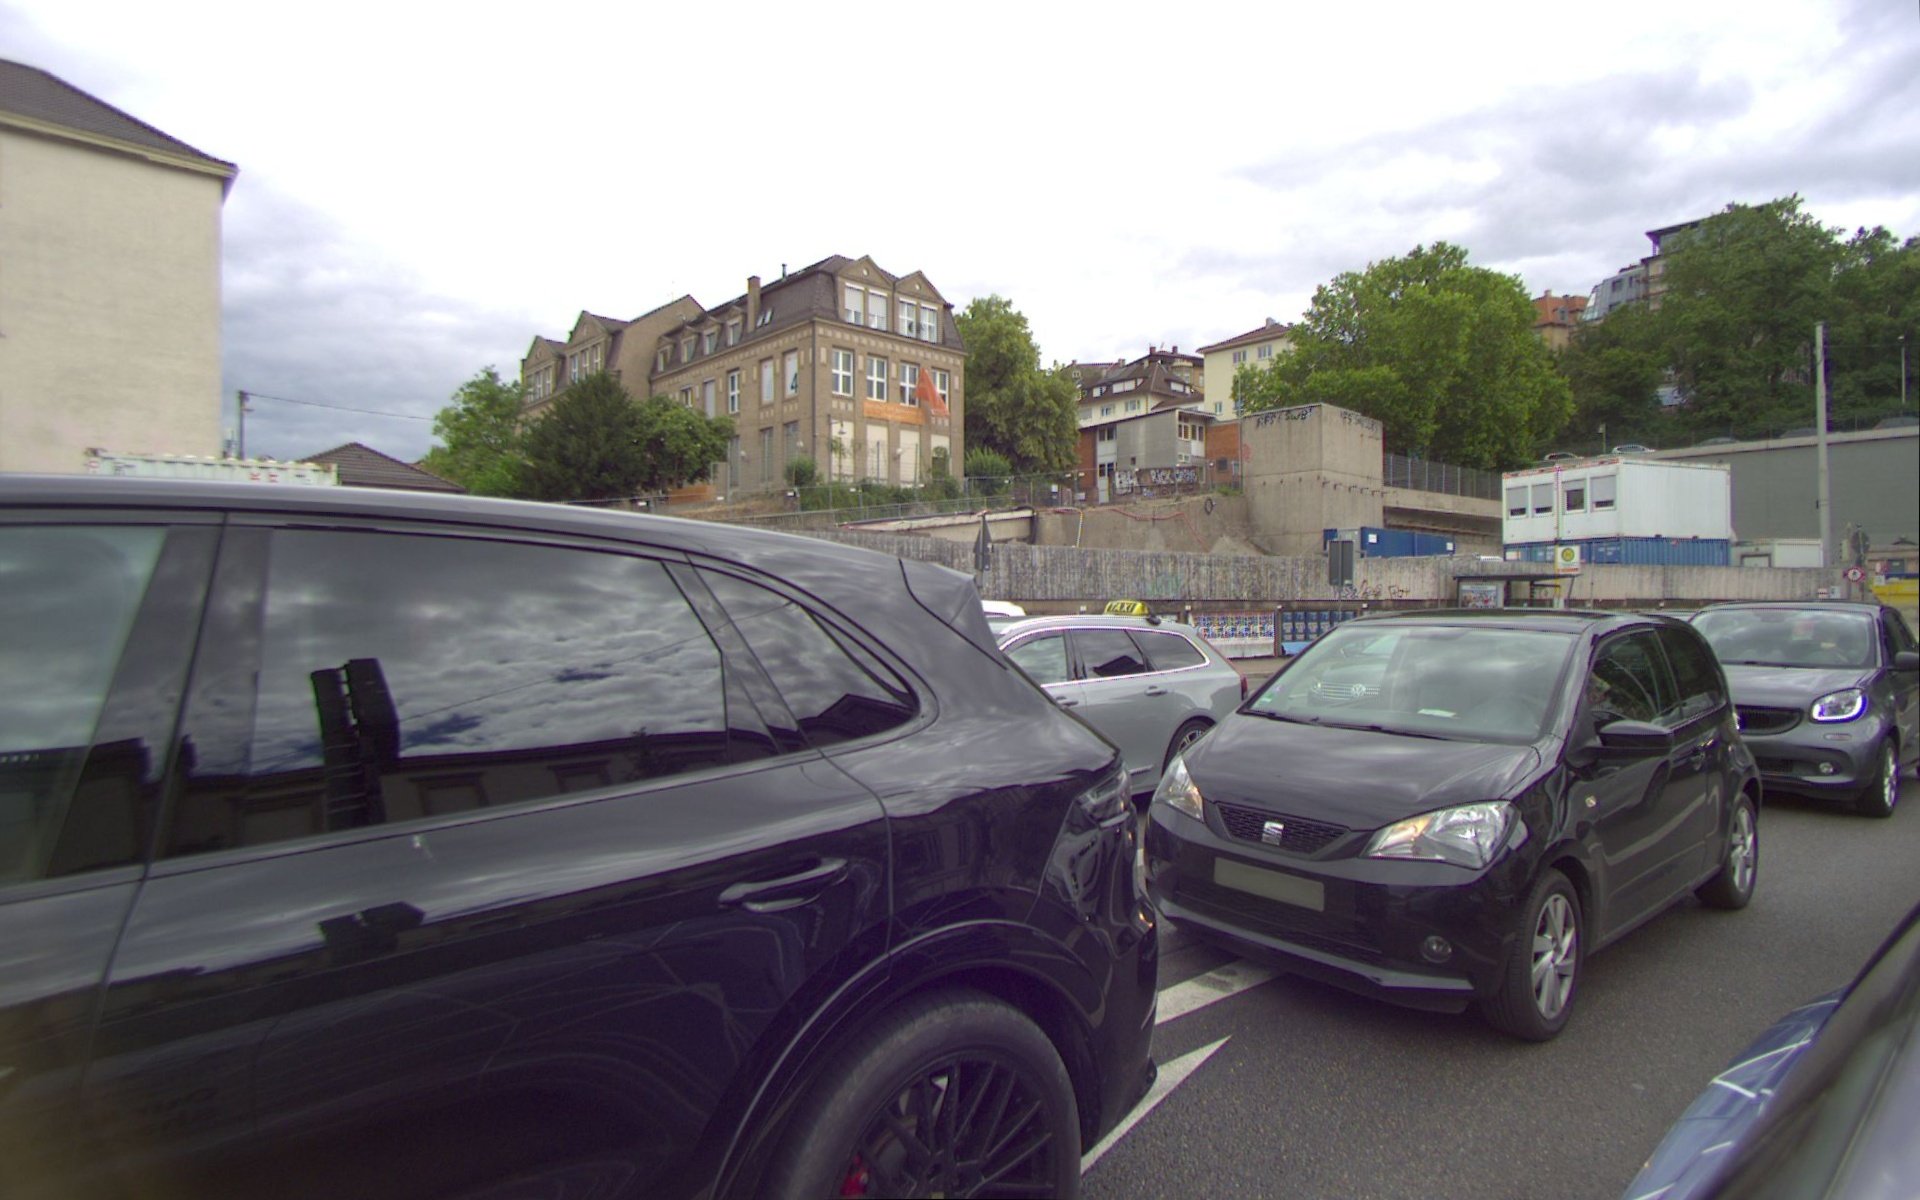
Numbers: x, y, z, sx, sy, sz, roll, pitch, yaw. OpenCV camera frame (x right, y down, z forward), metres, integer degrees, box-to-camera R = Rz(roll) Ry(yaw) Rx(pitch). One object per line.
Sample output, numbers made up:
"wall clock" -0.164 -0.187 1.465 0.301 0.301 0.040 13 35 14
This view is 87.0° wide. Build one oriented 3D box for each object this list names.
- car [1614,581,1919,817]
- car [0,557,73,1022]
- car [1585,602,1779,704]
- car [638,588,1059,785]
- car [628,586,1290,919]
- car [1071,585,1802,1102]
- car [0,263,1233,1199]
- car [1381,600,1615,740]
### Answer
"car" 7.080 0.661 8.501 3.511 1.563 1.720 0 0 -40
"car" -5.304 0.686 3.041 3.930 1.645 1.679 -1 0 -41
"car" 11.506 0.746 16.058 3.740 1.383 1.679 -1 0 -41
"car" -1.008 0.705 10.481 4.136 1.645 1.679 -1 0 -41
"car" 0.269 0.729 7.264 4.725 1.645 1.827 -1 0 -41
"car" 2.436 0.677 4.794 3.636 1.476 1.827 -1 0 -41
"car" -1.622 0.537 1.603 4.406 1.737 1.827 -1 0 -41
"car" 6.540 0.745 12.255 2.667 1.449 1.664 -1 0 -41
